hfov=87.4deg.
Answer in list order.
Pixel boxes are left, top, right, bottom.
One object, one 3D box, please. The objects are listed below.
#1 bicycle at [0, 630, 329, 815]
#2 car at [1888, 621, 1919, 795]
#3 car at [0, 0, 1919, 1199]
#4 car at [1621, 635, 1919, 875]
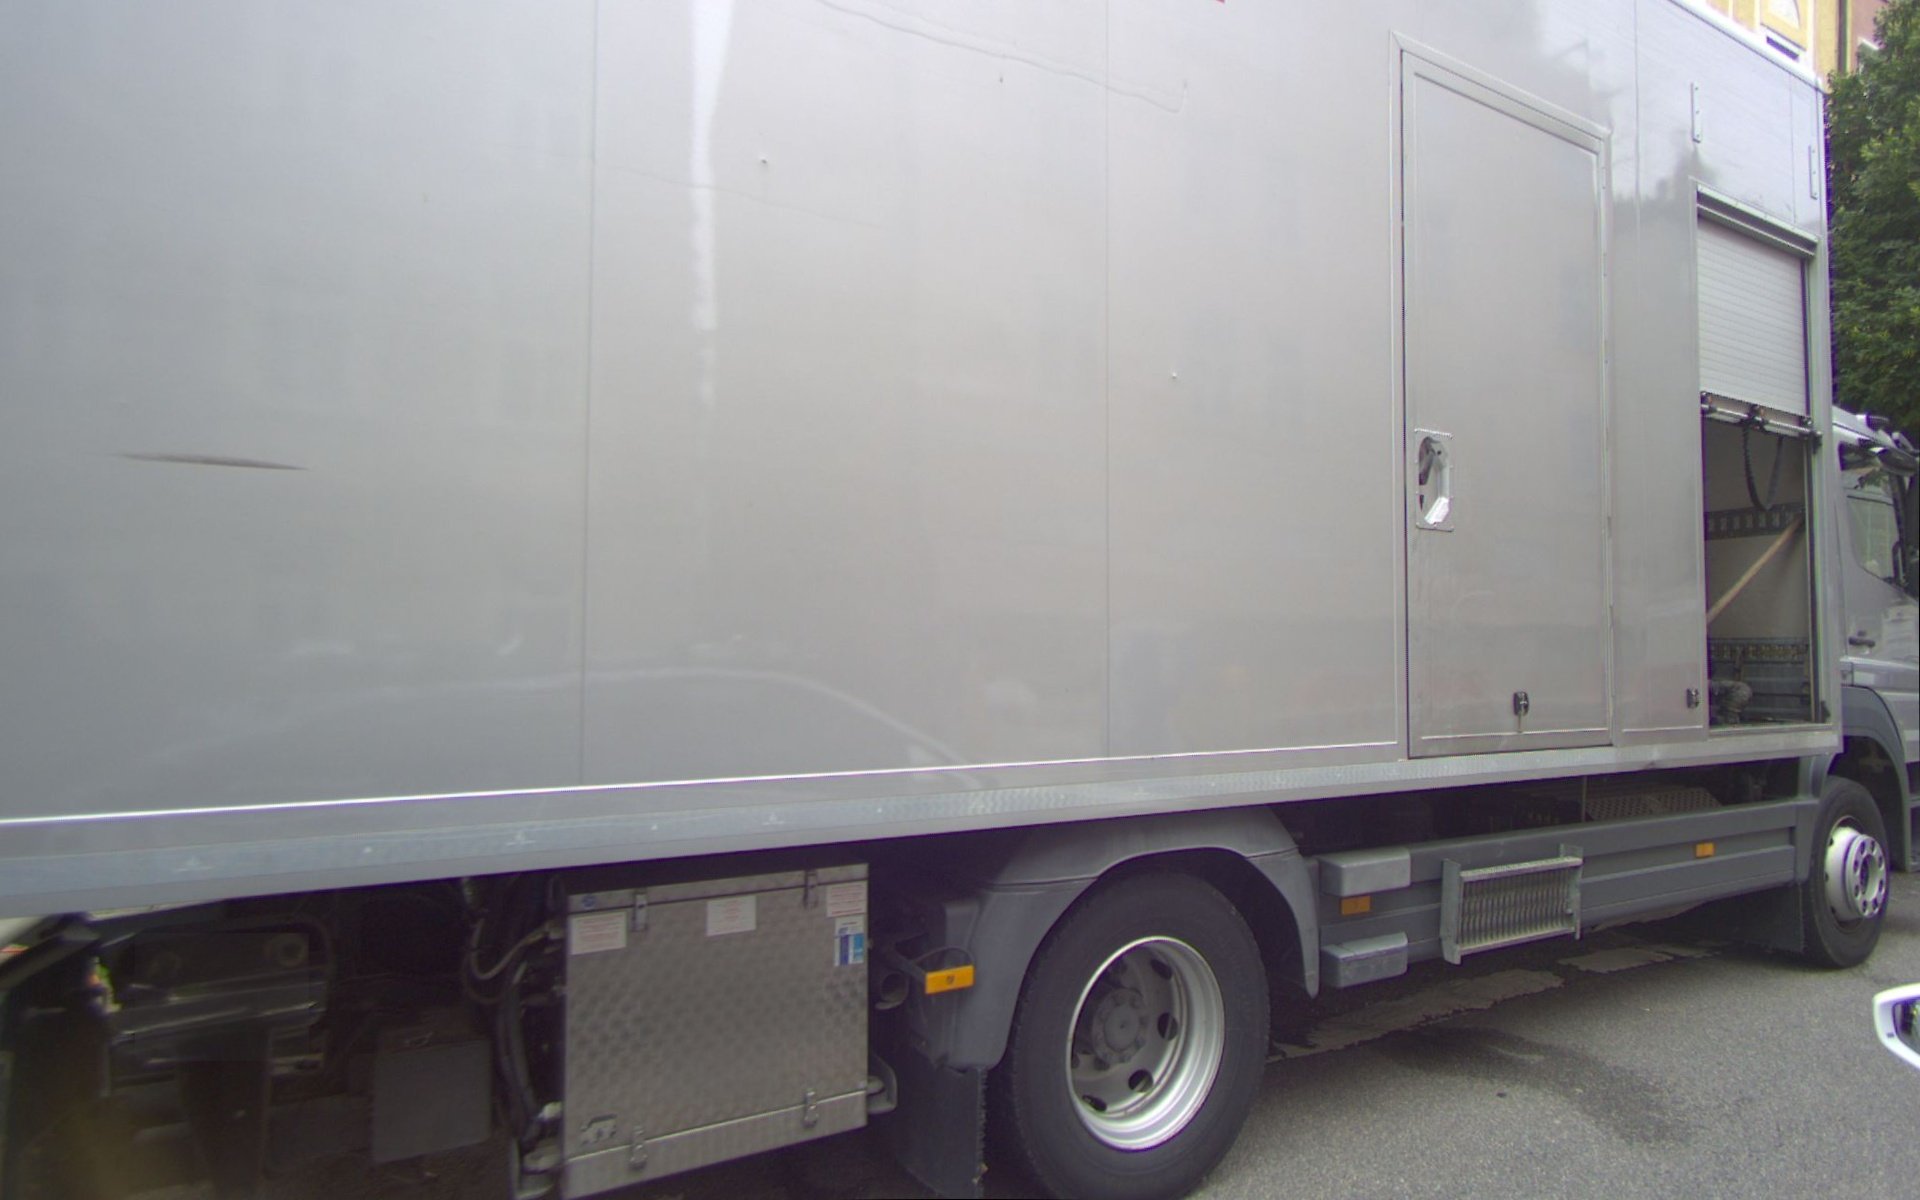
[{"bbox_3d":[-5.368,0.788,6.834,1.744,1.119,0.605,2,0,-29],"label":"bicycle"},{"bbox_3d":[11.253,1.061,9.918,4.131,1.650,1.778,1,-1,-27],"label":"car"},{"bbox_3d":[1.216,-0.386,4.301,8.615,3.868,2.801,2,-1,-28],"label":"car"},{"bbox_3d":[7.049,1.025,7.711,3.659,1.428,1.694,2,-1,-26],"label":"car"}]
